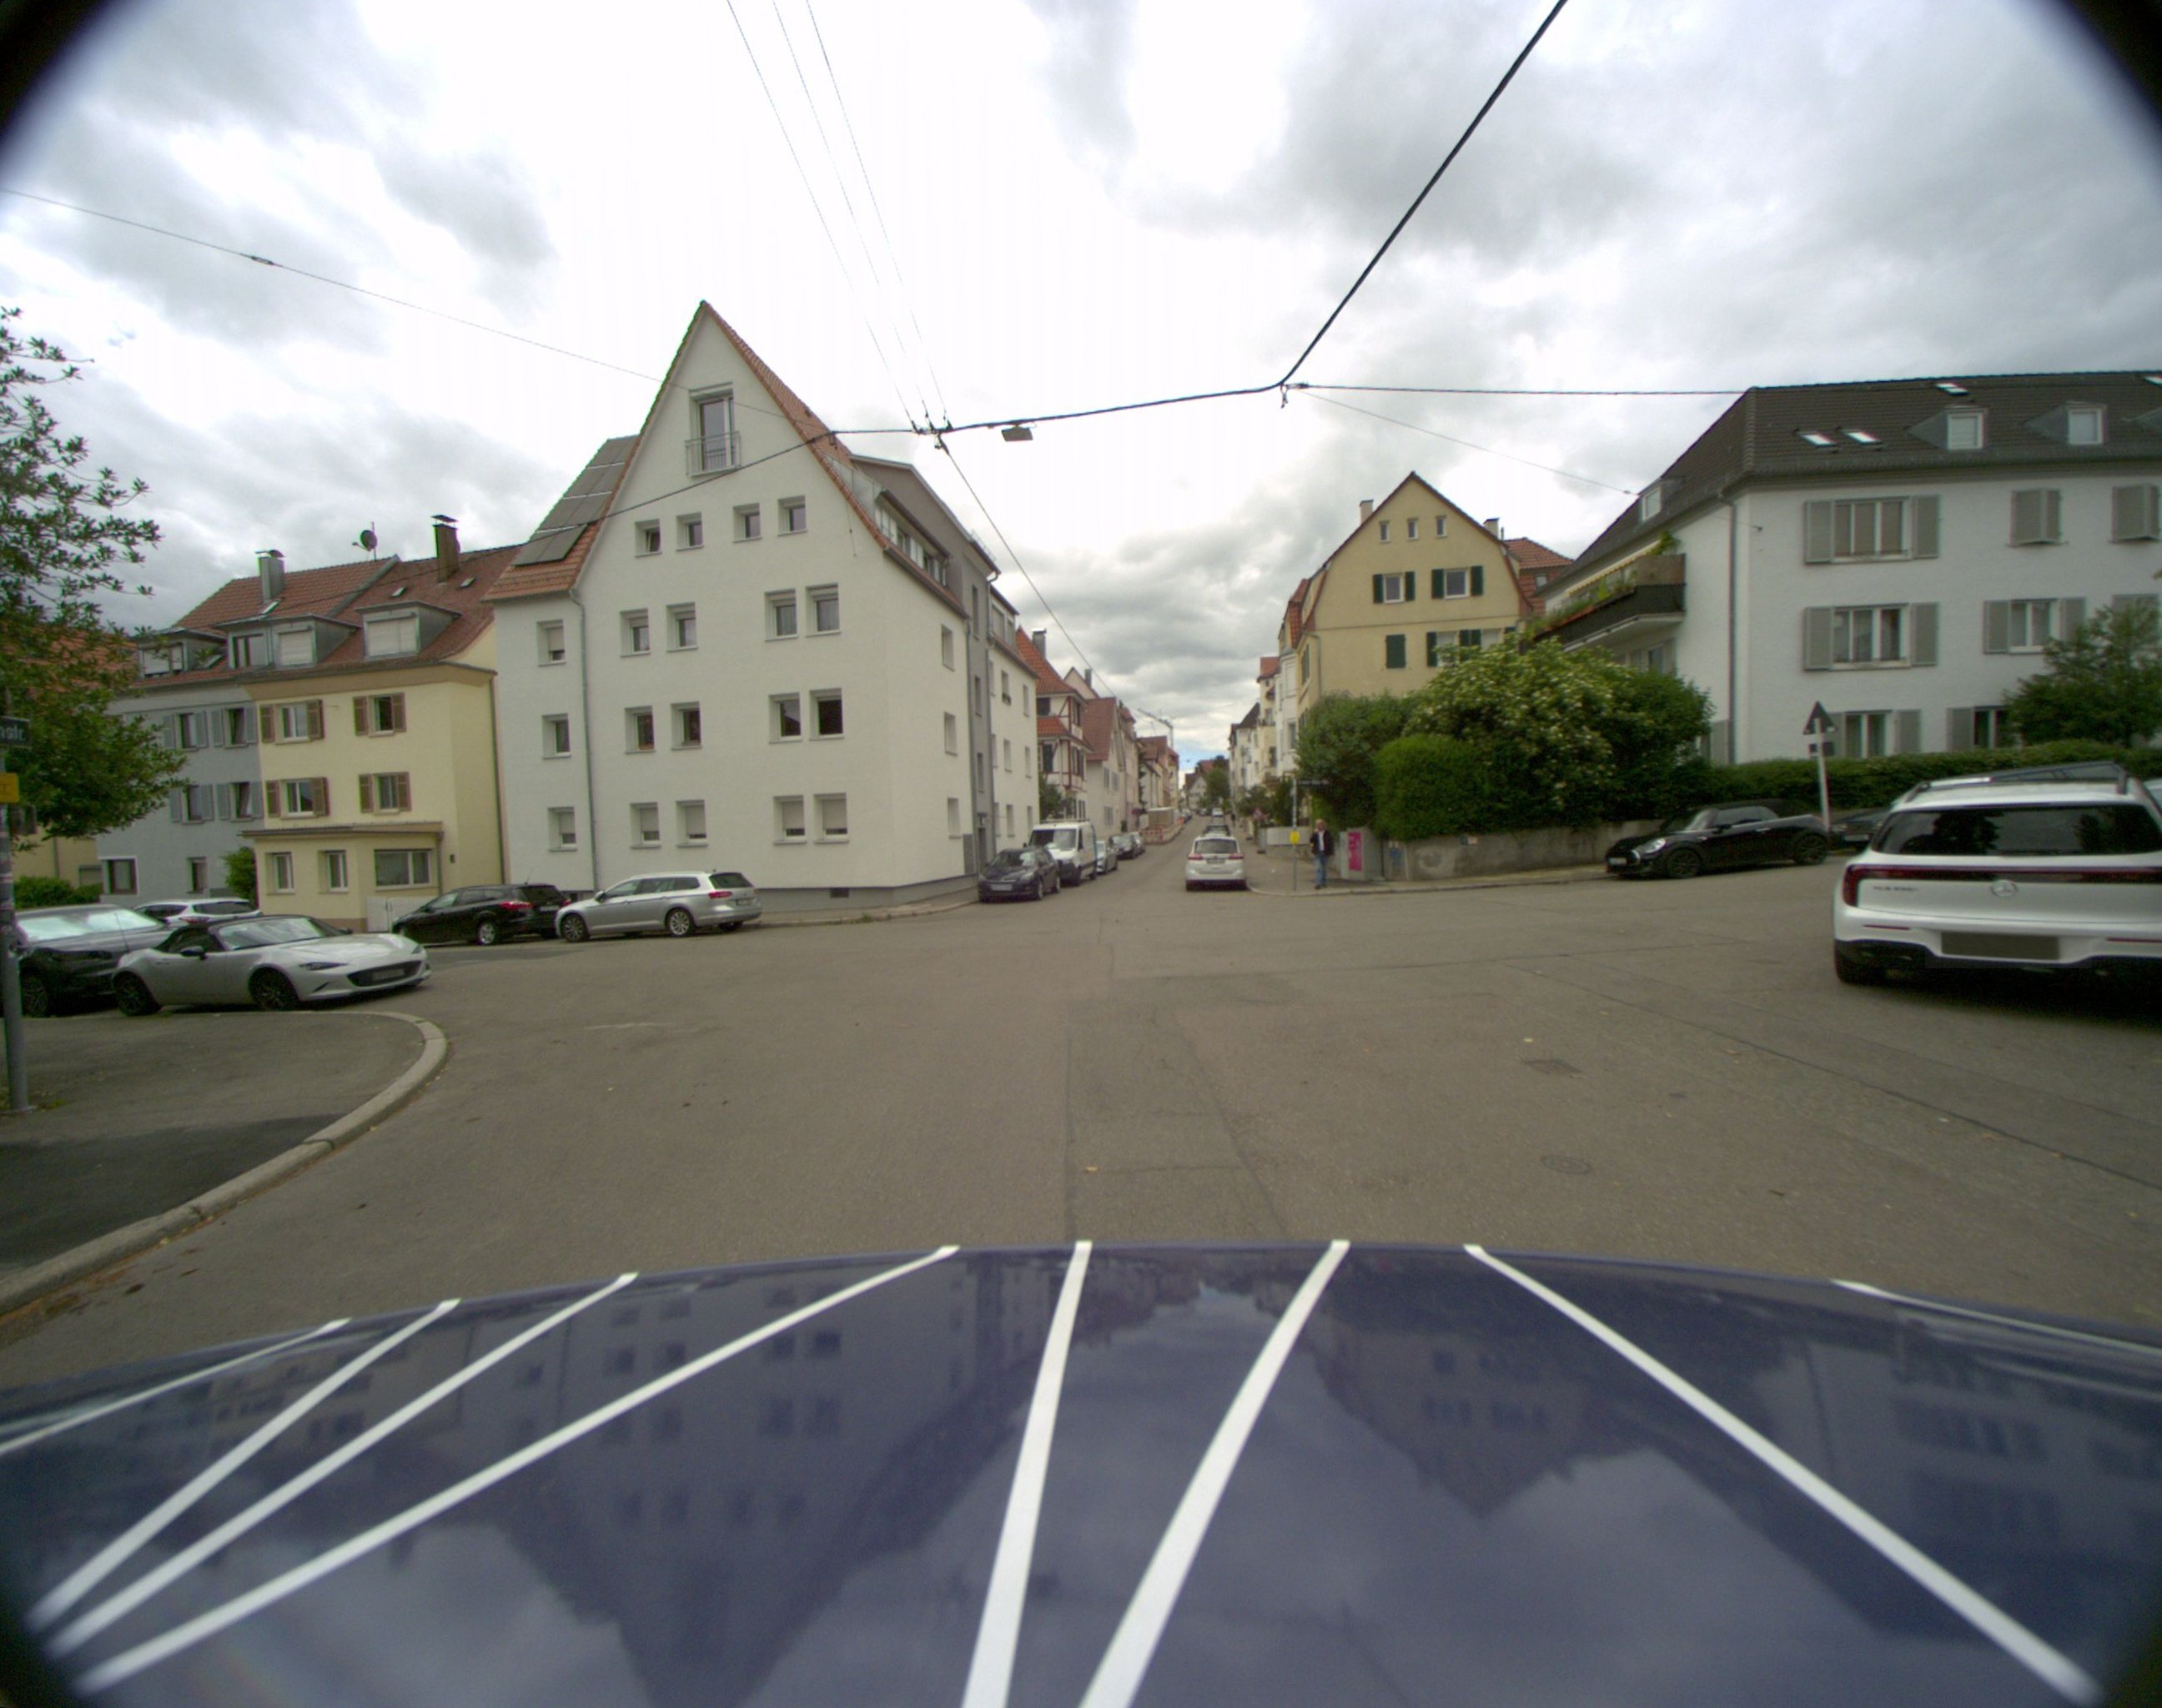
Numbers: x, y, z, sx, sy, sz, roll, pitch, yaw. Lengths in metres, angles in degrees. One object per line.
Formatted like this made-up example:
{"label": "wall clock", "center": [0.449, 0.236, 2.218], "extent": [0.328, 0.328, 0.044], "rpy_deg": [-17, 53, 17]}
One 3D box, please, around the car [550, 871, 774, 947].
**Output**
{"label": "car", "center": [-9.587, 1.250, 17.498], "extent": [4.352, 1.441, 1.765], "rpy_deg": [-3, 0, 12]}

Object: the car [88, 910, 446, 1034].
{"label": "car", "center": [-11.203, 1.601, 10.573], "extent": [3.475, 1.255, 1.671], "rpy_deg": [-4, 3, 10]}

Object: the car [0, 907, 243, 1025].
{"label": "car", "center": [-16.114, 1.788, 12.205], "extent": [4.196, 1.435, 1.671], "rpy_deg": [-4, 4, 15]}

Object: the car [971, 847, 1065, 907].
{"label": "car", "center": [-1.766, 0.612, 22.791], "extent": [1.822, 1.477, 4.288], "rpy_deg": [-2, 1, 9]}

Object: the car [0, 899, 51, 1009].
{"label": "car", "center": [-21.451, 1.960, 13.490], "extent": [4.508, 1.883, 1.892], "rpy_deg": [-3, 5, 13]}

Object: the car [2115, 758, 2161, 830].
{"label": "car", "center": [24.973, -1.493, 15.598], "extent": [4.730, 1.474, 1.888], "rpy_deg": [-6, 1, 2]}

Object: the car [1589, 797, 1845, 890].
{"label": "car", "center": [13.124, -0.207, 15.863], "extent": [3.716, 1.514, 1.788], "rpy_deg": [-5, 0, 2]}

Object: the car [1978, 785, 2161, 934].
{"label": "car", "center": [13.468, -0.116, 8.737], "extent": [4.513, 1.429, 1.833], "rpy_deg": [-6, 1, -6]}

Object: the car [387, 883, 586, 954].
{"label": "car", "center": [-14.663, 1.577, 18.786], "extent": [3.993, 1.413, 1.739], "rpy_deg": [-4, 0, 15]}

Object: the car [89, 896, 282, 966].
{"label": "car", "center": [-25.692, 2.192, 21.858], "extent": [3.993, 1.597, 1.869], "rpy_deg": [-4, 1, 13]}

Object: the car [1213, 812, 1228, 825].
{"label": "car", "center": [17.553, -4.486, 95.453], "extent": [1.661, 1.558, 4.000], "rpy_deg": [-1, 4, 12]}

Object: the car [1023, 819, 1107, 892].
{"label": "car", "center": [-0.475, -0.051, 28.674], "extent": [1.997, 2.409, 5.295], "rpy_deg": [-1, 3, 11]}

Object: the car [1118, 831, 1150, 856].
{"label": "car", "center": [3.564, -0.707, 50.424], "extent": [1.628, 1.385, 4.237], "rpy_deg": [-3, 3, 9]}

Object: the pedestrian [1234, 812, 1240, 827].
{"label": "pedestrian", "center": [17.823, -3.921, 86.958], "extent": [0.616, 1.647, 0.812], "rpy_deg": [-3, 3, 12]}

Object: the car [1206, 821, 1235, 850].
{"label": "car", "center": [9.515, -1.296, 52.187], "extent": [1.752, 1.787, 4.149], "rpy_deg": [-1, 4, 8]}

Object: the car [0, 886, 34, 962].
{"label": "car", "center": [-37.814, 2.457, 24.837], "extent": [5.883, 2.400, 2.117], "rpy_deg": [-4, 0, 15]}

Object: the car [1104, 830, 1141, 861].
{"label": "car", "center": [2.552, -0.511, 45.461], "extent": [1.780, 1.710, 4.002], "rpy_deg": [-2, 1, 8]}

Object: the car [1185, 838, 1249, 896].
{"label": "car", "center": [4.282, 0.350, 24.022], "extent": [1.807, 1.650, 4.153], "rpy_deg": [-1, 1, 10]}

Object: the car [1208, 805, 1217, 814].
{"label": "car", "center": [26.723, -9.048, 154.183], "extent": [1.781, 1.558, 4.000], "rpy_deg": [-2, 4, 12]}

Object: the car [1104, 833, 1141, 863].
{"label": "car", "center": [2.525, -0.398, 45.385], "extent": [1.608, 1.481, 4.024], "rpy_deg": [-3, 3, 10]}

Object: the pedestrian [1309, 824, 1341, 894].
{"label": "pedestrian", "center": [6.324, 0.123, 19.720], "extent": [0.643, 1.750, 0.823], "rpy_deg": [-4, 1, 15]}

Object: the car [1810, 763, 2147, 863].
{"label": "car", "center": [18.595, -0.826, 15.916], "extent": [4.731, 1.474, 1.888], "rpy_deg": [-6, 1, 1]}

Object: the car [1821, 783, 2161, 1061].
{"label": "car", "center": [8.156, 0.332, 6.558], "extent": [4.521, 1.646, 1.830], "rpy_deg": [-5, 2, -37]}

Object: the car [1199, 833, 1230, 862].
{"label": "car", "center": [7.532, -0.402, 42.776], "extent": [1.641, 1.421, 4.124], "rpy_deg": [0, 4, 10]}

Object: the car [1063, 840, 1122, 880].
{"label": "car", "center": [0.602, 0.227, 34.621], "extent": [1.827, 1.437, 4.384], "rpy_deg": [-3, 3, 11]}

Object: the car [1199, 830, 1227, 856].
{"label": "car", "center": [8.271, -0.726, 47.489], "extent": [1.641, 1.391, 3.703], "rpy_deg": [1, 4, 10]}
